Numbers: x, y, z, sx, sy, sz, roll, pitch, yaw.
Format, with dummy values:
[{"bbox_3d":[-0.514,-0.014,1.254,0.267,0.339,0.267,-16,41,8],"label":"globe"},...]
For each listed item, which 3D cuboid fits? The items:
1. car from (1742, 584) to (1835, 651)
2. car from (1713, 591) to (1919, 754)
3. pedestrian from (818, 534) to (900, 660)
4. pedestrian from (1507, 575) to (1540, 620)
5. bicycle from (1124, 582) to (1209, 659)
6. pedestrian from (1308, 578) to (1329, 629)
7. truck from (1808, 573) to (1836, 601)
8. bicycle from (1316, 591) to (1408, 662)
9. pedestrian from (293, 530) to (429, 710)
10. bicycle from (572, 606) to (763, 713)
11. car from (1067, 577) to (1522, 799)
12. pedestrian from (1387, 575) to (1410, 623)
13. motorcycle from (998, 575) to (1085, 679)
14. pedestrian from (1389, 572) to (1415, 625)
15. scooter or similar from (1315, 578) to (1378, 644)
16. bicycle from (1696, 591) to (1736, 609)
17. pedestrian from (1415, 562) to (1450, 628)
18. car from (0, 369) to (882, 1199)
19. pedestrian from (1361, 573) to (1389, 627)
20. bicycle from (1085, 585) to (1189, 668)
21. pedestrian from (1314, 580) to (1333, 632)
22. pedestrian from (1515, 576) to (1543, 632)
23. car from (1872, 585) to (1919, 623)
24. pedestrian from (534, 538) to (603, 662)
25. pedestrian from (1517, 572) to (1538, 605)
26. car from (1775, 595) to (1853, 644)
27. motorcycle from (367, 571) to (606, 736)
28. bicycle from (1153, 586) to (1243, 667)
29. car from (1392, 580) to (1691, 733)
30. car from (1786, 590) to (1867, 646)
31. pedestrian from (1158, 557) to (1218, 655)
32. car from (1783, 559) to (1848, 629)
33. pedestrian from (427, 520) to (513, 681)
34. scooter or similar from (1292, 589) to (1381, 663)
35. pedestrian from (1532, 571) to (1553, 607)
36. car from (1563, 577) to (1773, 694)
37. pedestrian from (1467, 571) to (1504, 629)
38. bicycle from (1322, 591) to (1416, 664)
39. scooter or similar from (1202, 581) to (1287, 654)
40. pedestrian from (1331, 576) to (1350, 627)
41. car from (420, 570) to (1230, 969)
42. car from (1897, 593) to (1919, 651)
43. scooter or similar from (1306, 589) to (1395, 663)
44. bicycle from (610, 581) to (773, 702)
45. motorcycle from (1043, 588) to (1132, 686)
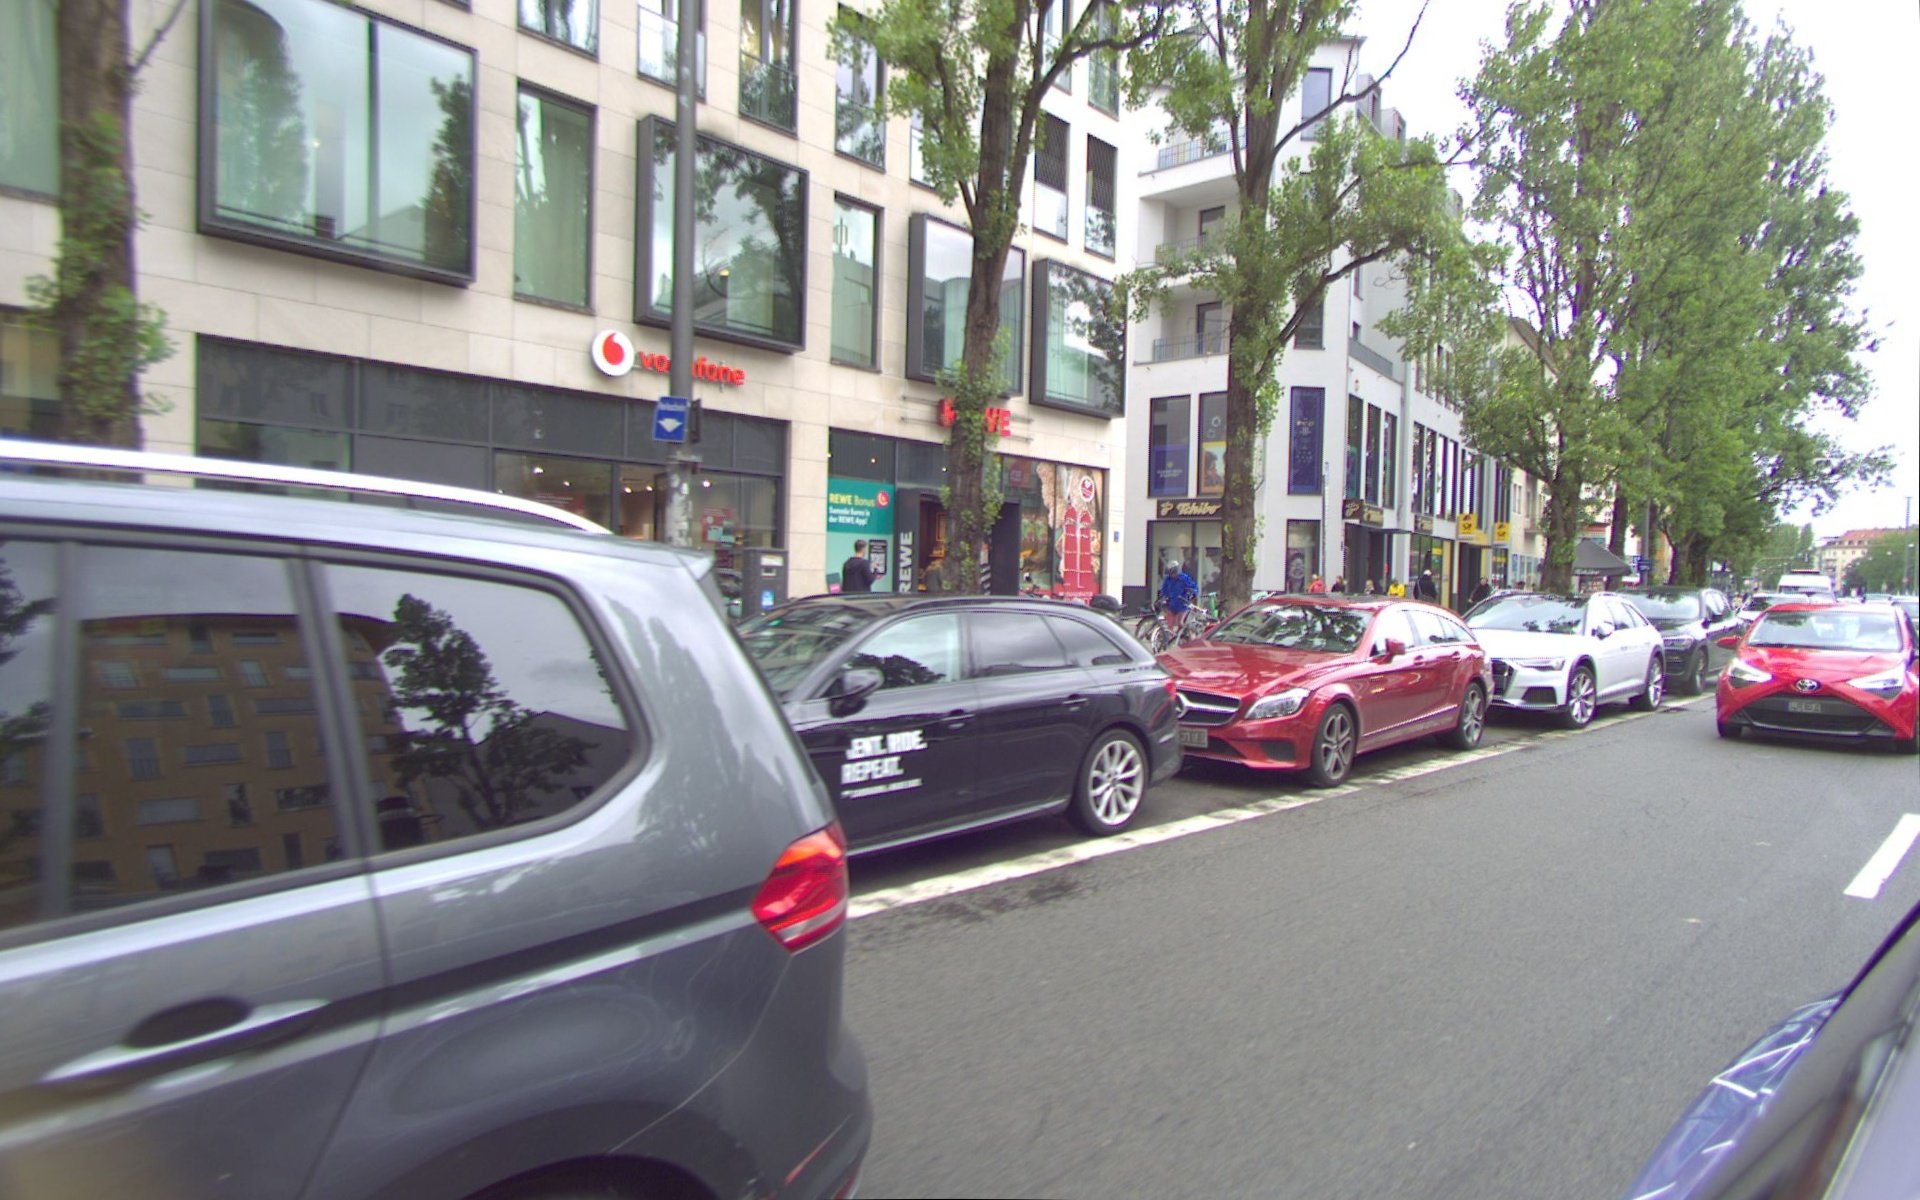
[{"bbox_3d":[23.246,0.439,28.349,1.727,1.707,4.339,1,1,43],"label":"car"},{"bbox_3d":[9.673,0.652,11.077,3.535,1.464,1.667,-1,1,-42],"label":"car"},{"bbox_3d":[-1.587,-0.069,15.830,0.922,1.892,0.819,0,2,-41],"label":"pedestrian"},{"bbox_3d":[21.010,-0.100,37.720,0.799,1.657,1.008,3,2,43],"label":"pedestrian"},{"bbox_3d":[3.476,0.319,17.192,0.442,1.186,1.772,1,2,-23],"label":"bicycle"},{"bbox_3d":[11.607,0.116,32.762,0.539,1.644,0.507,0,1,4],"label":"pedestrian"},{"bbox_3d":[115.701,-1.711,135.879,2.531,3.531,7.641,3,2,39],"label":"truck"},{"bbox_3d":[7.572,0.474,19.095,1.479,1.222,0.527,4,2,45],"label":"bicycle"},{"bbox_3d":[-5.680,0.157,9.593,0.923,1.596,0.835,0,2,-45],"label":"pedestrian"},{"bbox_3d":[-2.853,0.559,9.948,1.728,0.952,0.435,1,2,-32],"label":"bicycle"},{"bbox_3d":[3.262,0.581,9.255,4.724,1.468,1.933,0,2,-43],"label":"car"},{"bbox_3d":[14.846,-0.031,34.287,0.557,1.595,0.673,2,2,17],"label":"pedestrian"},{"bbox_3d":[1.188,0.338,14.443,0.681,1.373,1.629,2,2,25],"label":"motorcycle"},{"bbox_3d":[14.275,-0.053,32.669,0.558,1.654,0.492,1,2,-31],"label":"pedestrian"},{"bbox_3d":[7.582,0.202,19.874,0.373,1.241,1.051,0,2,-45],"label":"scooter or similar"},{"bbox_3d":[58.730,-0.014,78.622,2.362,1.242,0.618,3,2,43],"label":"bicycle"},{"bbox_3d":[14.333,-0.149,30.699,0.646,1.948,0.911,4,2,44],"label":"pedestrian"},{"bbox_3d":[-2.247,0.578,0.975,4.111,1.634,1.764,0,1,-42],"label":"car"},{"bbox_3d":[12.444,-0.001,30.349,0.558,1.586,0.492,1,2,-31],"label":"pedestrian"},{"bbox_3d":[2.703,0.398,15.483,1.425,1.204,0.548,2,2,-8],"label":"bicycle"},{"bbox_3d":[11.543,0.182,32.138,0.543,1.644,0.503,0,1,26],"label":"pedestrian"},{"bbox_3d":[18.252,0.108,32.462,0.665,1.746,0.761,3,2,32],"label":"pedestrian"},{"bbox_3d":[45.670,0.159,49.069,1.991,1.771,3.943,1,1,40],"label":"car"},{"bbox_3d":[-5.392,-0.011,13.982,0.703,1.641,0.798,1,2,-8],"label":"pedestrian"},{"bbox_3d":[27.641,-0.562,49.293,0.690,1.604,0.762,3,2,40],"label":"pedestrian"},{"bbox_3d":[27.250,0.558,32.234,1.770,1.451,4.501,0,0,42],"label":"car"},{"bbox_3d":[-4.118,0.417,8.800,1.947,1.267,0.636,3,2,17],"label":"motorcycle"},{"bbox_3d":[3.448,0.344,14.576,0.639,1.076,1.749,3,2,35],"label":"bicycle"},{"bbox_3d":[7.442,0.571,12.733,4.722,1.519,1.814,0,3,-42],"label":"car"},{"bbox_3d":[30.873,0.572,36.022,1.929,1.827,4.704,1,1,44],"label":"car"},{"bbox_3d":[3.935,0.093,17.487,0.599,1.639,0.796,1,2,-24],"label":"pedestrian"},{"bbox_3d":[36.149,-0.285,42.743,1.992,2.776,5.472,1,1,41],"label":"car"},{"bbox_3d":[-5.670,0.000,11.752,0.668,1.794,0.798,1,2,-9],"label":"pedestrian"},{"bbox_3d":[6.639,0.440,17.907,1.435,1.215,0.306,3,2,44],"label":"scooter or similar"},{"bbox_3d":[27.681,-0.536,48.058,0.690,1.669,0.787,3,2,40],"label":"pedestrian"},{"bbox_3d":[12.014,0.469,17.050,4.570,1.721,1.928,-1,1,-42],"label":"car"},{"bbox_3d":[15.767,-0.018,30.367,0.714,1.696,0.771,4,2,44],"label":"pedestrian"},{"bbox_3d":[7.468,0.486,18.525,1.479,1.222,0.527,4,2,45],"label":"bicycle"},{"bbox_3d":[5.161,0.294,18.428,0.544,1.226,1.388,0,2,-39],"label":"scooter or similar"},{"bbox_3d":[12.255,0.042,32.589,0.499,1.644,0.547,0,1,13],"label":"pedestrian"},{"bbox_3d":[-0.495,0.604,5.856,4.348,1.446,1.851,0,2,-41],"label":"car"},{"bbox_3d":[26.504,0.578,27.245,1.734,1.488,3.990,2,1,41],"label":"car"},{"bbox_3d":[6.918,0.438,17.978,1.435,1.215,0.306,3,2,44],"label":"scooter or similar"},{"bbox_3d":[-2.874,0.414,10.958,0.455,1.202,1.688,3,3,45],"label":"bicycle"},{"bbox_3d":[1.716,0.441,13.393,0.681,1.170,1.629,3,2,25],"label":"motorcycle"}]
